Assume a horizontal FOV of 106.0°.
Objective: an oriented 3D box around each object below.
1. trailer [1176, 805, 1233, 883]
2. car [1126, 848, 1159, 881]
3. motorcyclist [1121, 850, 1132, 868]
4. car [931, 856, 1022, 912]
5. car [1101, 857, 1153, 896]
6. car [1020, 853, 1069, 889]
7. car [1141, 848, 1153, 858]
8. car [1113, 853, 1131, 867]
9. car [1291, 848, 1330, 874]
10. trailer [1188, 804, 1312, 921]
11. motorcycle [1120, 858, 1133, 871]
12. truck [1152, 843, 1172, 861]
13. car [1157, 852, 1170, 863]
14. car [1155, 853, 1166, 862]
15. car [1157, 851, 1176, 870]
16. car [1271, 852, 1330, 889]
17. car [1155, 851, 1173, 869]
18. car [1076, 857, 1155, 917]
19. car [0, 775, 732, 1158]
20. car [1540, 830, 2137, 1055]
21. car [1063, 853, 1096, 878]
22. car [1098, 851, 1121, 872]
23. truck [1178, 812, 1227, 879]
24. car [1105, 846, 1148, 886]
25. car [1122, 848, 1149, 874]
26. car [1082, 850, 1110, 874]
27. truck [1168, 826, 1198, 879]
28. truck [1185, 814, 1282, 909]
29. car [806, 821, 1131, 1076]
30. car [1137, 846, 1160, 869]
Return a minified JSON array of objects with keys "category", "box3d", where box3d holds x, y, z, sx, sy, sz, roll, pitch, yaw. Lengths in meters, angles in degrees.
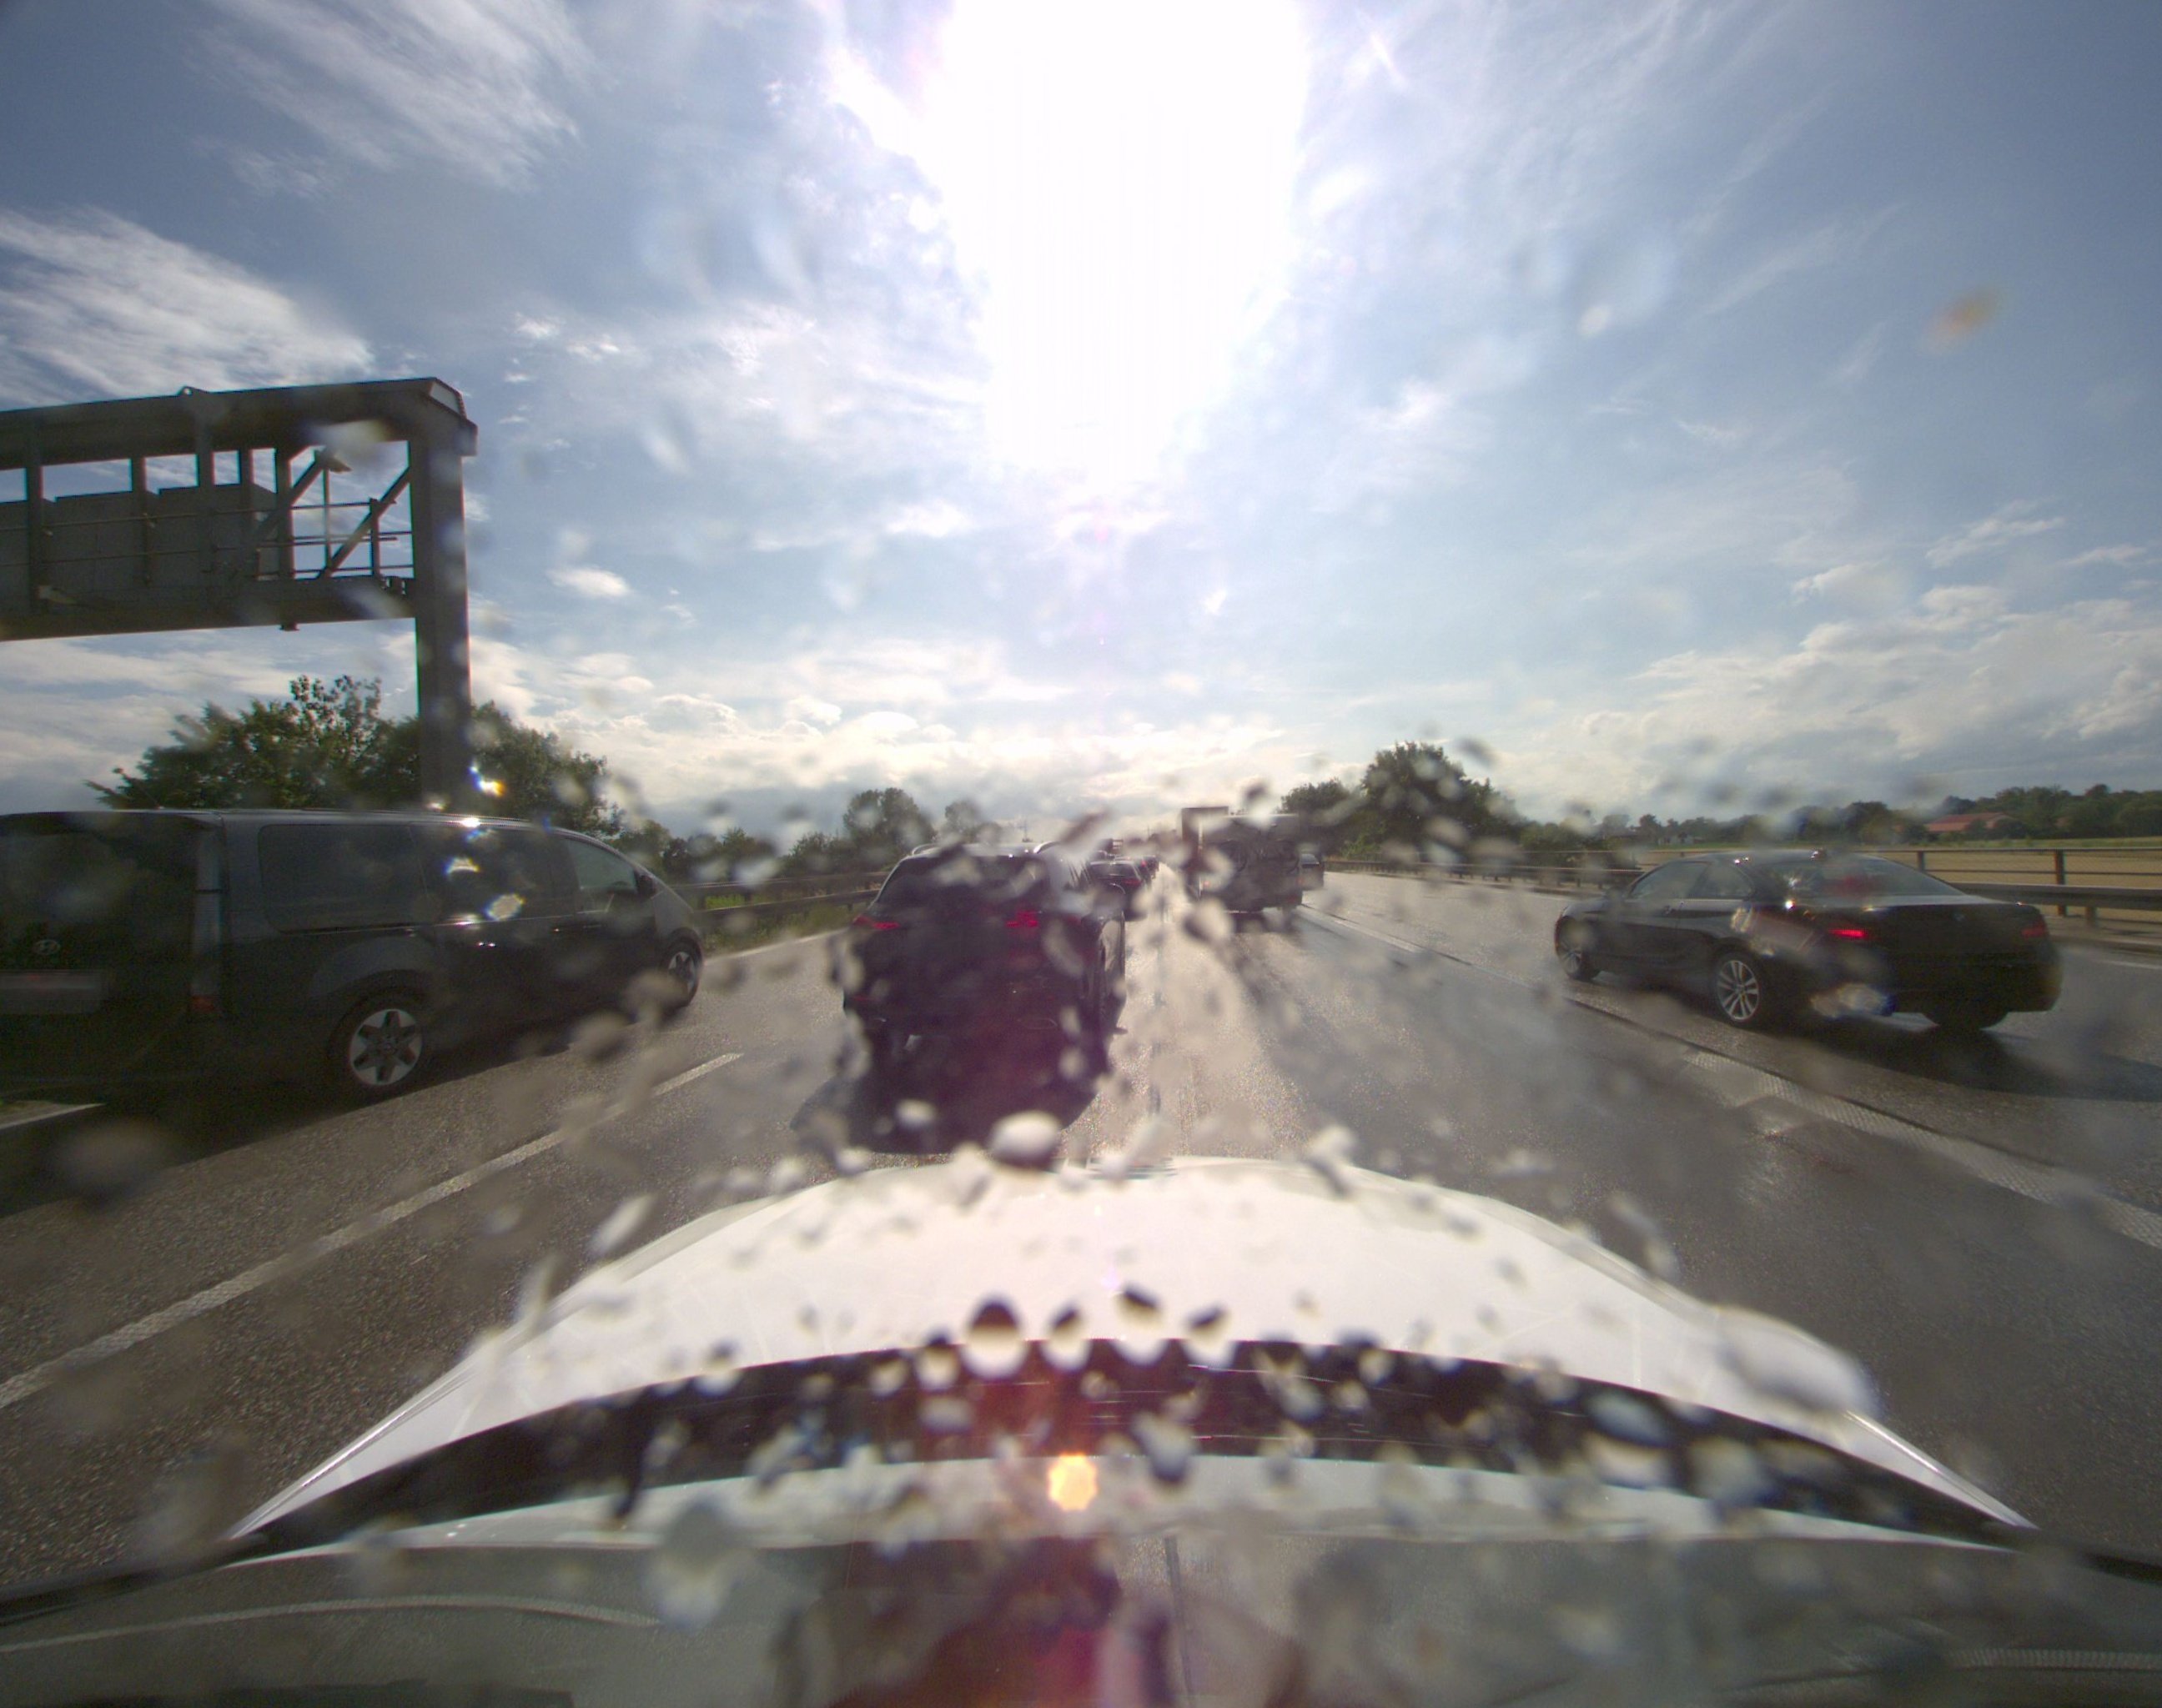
[{"category":"trailer","box3d":[7.225,-0.511,48.151,2.990,4.166,8.554,-1,0,8]},{"category":"car","box3d":[4.102,0.668,54.095,1.983,2.013,4.007,2,0,6]},{"category":"motorcyclist","box3d":[4.416,0.516,79.209,1.058,1.718,0.786,-1,-1,6]},{"category":"car","box3d":[-3.075,0.849,24.778,1.748,1.516,4.216,-2,0,7]},{"category":"car","box3d":[1.832,0.831,31.487,1.797,1.407,4.006,-1,0,6]},{"category":"car","box3d":[-1.817,0.836,41.670,1.984,1.720,4.005,-1,0,4]},{"category":"car","box3d":[11.327,-0.135,139.257,1.868,1.760,4.003,-1,0,3]},{"category":"car","box3d":[5.011,0.710,99.068,1.983,1.616,4.007,2,0,6]},{"category":"car","box3d":[15.203,0.449,54.123,1.779,1.613,4.392,-2,0,6]},{"category":"trailer","box3d":[4.021,0.206,20.651,2.362,2.483,6.533,-1,0,6]},{"category":"motorcycle","box3d":[4.414,0.995,79.085,1.068,1.271,2.695,-1,0,6]},{"category":"truck","box3d":[19.046,-0.420,192.009,3.828,4.017,11.225,-1,0,2]},{"category":"car","box3d":[13.611,0.583,134.659,1.868,1.760,4.003,-1,0,3]},{"category":"car","box3d":[14.915,0.694,153.586,1.868,1.760,4.003,-1,0,3]},{"category":"car","box3d":[9.304,0.651,88.323,1.983,2.013,4.007,0,0,6]},{"category":"car","box3d":[9.130,0.641,34.111,1.732,1.420,3.841,-2,0,5]},{"category":"car","box3d":[10.062,0.696,98.413,1.983,2.013,4.007,2,0,6]},{"category":"car","box3d":[1.004,0.814,21.582,1.748,1.387,3.952,-2,0,7]},{"category":"car","box3d":[-5.399,0.618,7.009,1.983,2.013,5.279,-2,0,6]},{"category":"car","box3d":[6.273,0.617,7.613,1.839,1.464,4.262,-2,-1,5]},{"category":"car","box3d":[-0.086,0.812,60.744,1.983,1.772,4.007,-1,0,6]},{"category":"car","box3d":[2.943,0.715,82.153,1.983,2.013,4.007,-1,0,6]},{"category":"truck","box3d":[7.974,-0.504,53.641,2.979,4.166,5.251,-1,0,8]},{"category":"car","box3d":[2.450,0.601,42.852,1.983,2.013,4.007,-1,0,6]},{"category":"car","box3d":[4.456,0.568,65.694,1.983,2.013,4.007,0,0,6]},{"category":"car","box3d":[1.337,0.694,71.755,1.983,2.013,4.007,2,0,6]},{"category":"truck","box3d":[9.829,-0.128,79.170,2.490,4.830,7.552,-1,0,5]},{"category":"truck","box3d":[4.407,0.217,24.506,2.362,2.477,5.765,-1,0,5]},{"category":"car","box3d":[-0.631,0.650,7.596,1.984,1.661,4.412,-1,0,5]},{"category":"car","box3d":[6.486,0.348,77.440,1.983,2.013,4.007,-2,0,6]}]
